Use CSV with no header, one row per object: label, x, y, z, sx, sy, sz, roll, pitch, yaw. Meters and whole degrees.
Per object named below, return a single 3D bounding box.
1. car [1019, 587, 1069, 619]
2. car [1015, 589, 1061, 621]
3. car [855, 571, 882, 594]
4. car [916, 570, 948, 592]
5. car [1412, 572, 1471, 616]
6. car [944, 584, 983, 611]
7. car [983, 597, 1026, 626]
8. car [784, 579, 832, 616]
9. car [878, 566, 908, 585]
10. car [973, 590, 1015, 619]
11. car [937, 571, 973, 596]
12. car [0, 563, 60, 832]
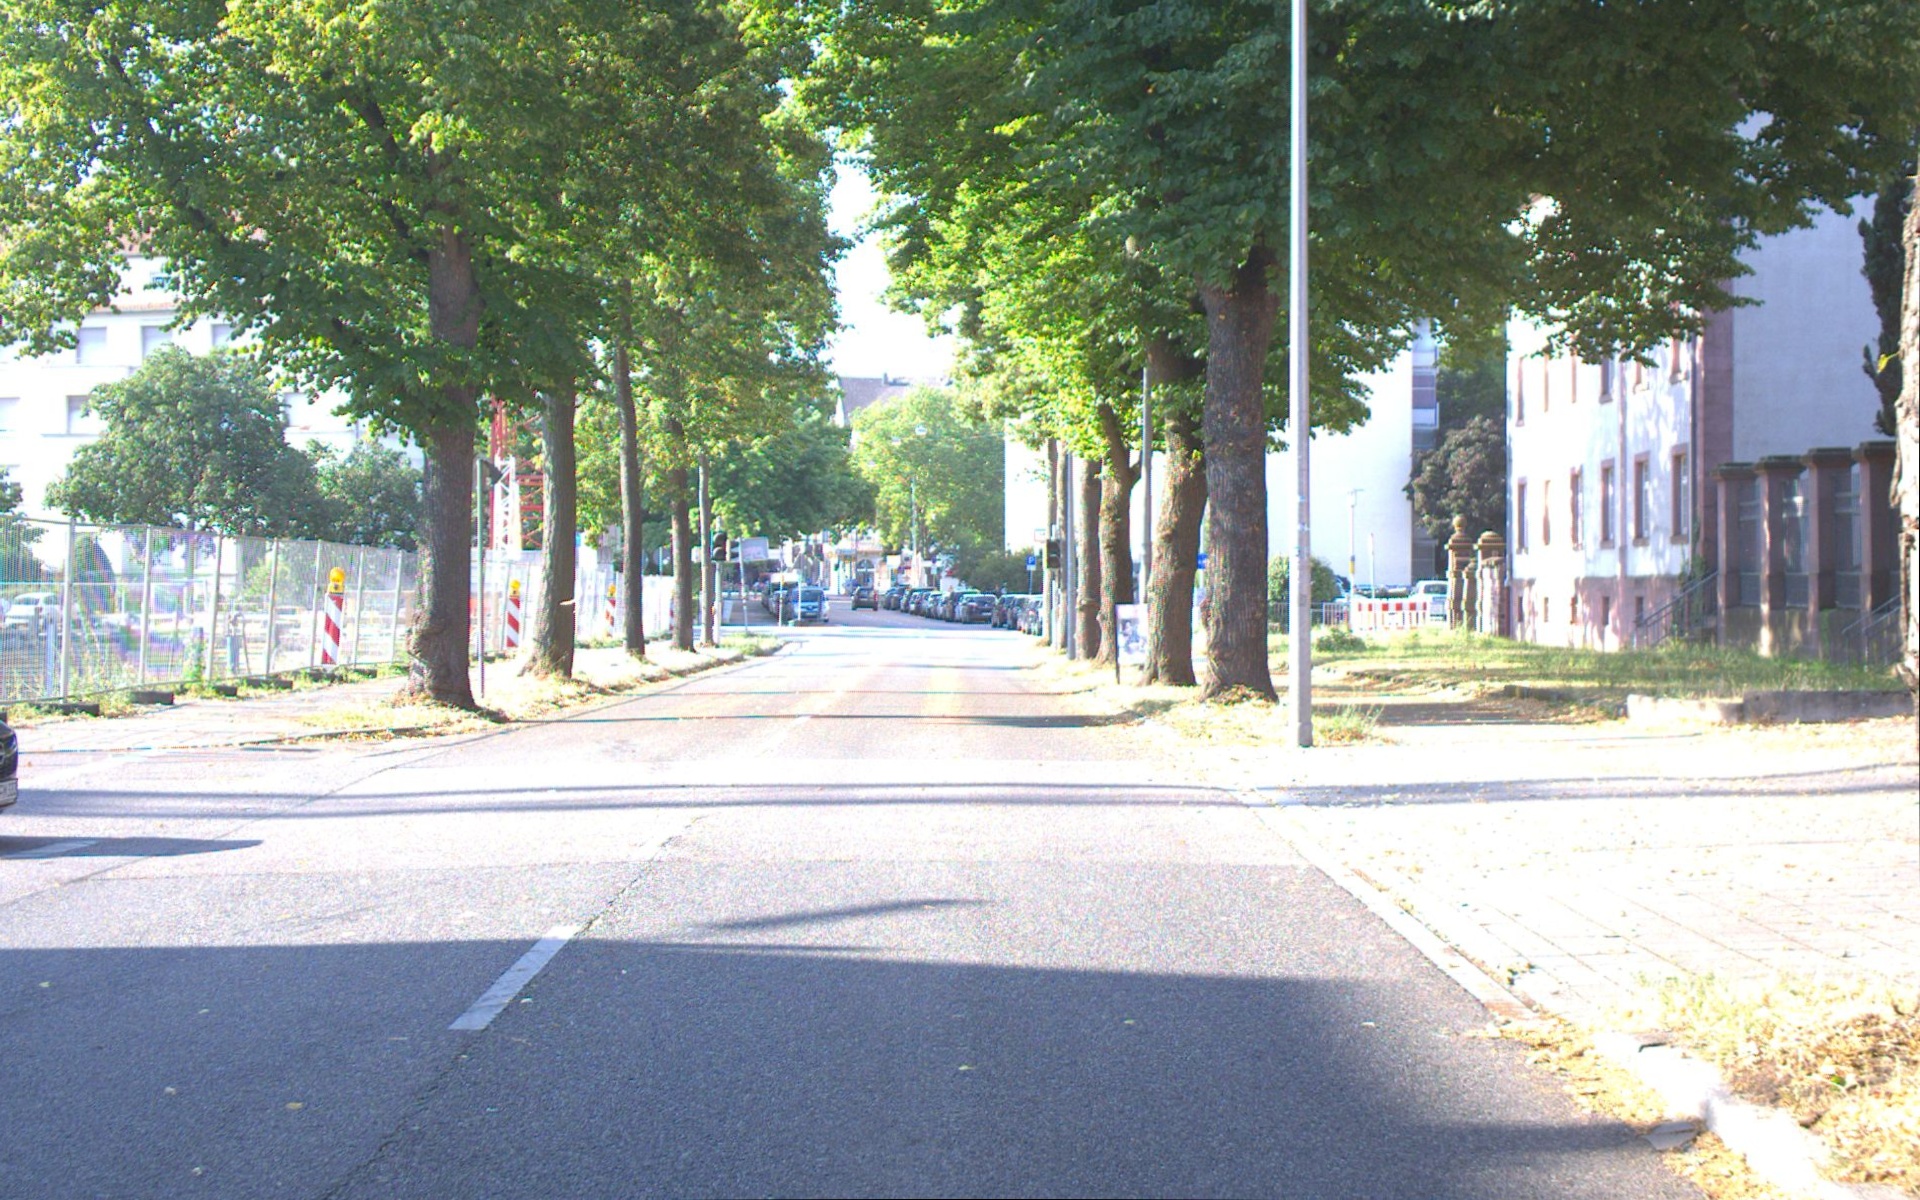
car,3.342,0.130,136.914,1.841,1.257,4.000,0,0,-1
car,3.329,0.203,147.266,1.841,1.256,4.000,2,1,0
car,-6.400,-1.211,239.849,1.714,1.481,4.000,-1,0,-4
car,-1.771,-1.180,216.065,1.841,1.381,4.000,0,0,-3
car,18.481,-0.206,132.059,1.812,1.554,3.625,2,-1,2
car,0.155,-0.131,183.553,1.841,1.381,4.000,0,0,-3
car,1.965,0.501,153.935,1.841,1.257,4.000,0,0,-1
car,-7.081,-0.099,159.700,1.993,1.682,4.000,0,-1,-6
car,-4.762,-1.759,245.219,1.841,1.381,4.001,0,1,-6
car,1.700,0.215,172.374,1.841,1.381,4.001,0,1,-3
car,-0.288,-0.933,195.684,1.841,1.381,4.000,0,0,-3
car,-7.166,0.599,19.060,3.844,1.468,1.651,-2,0,2
